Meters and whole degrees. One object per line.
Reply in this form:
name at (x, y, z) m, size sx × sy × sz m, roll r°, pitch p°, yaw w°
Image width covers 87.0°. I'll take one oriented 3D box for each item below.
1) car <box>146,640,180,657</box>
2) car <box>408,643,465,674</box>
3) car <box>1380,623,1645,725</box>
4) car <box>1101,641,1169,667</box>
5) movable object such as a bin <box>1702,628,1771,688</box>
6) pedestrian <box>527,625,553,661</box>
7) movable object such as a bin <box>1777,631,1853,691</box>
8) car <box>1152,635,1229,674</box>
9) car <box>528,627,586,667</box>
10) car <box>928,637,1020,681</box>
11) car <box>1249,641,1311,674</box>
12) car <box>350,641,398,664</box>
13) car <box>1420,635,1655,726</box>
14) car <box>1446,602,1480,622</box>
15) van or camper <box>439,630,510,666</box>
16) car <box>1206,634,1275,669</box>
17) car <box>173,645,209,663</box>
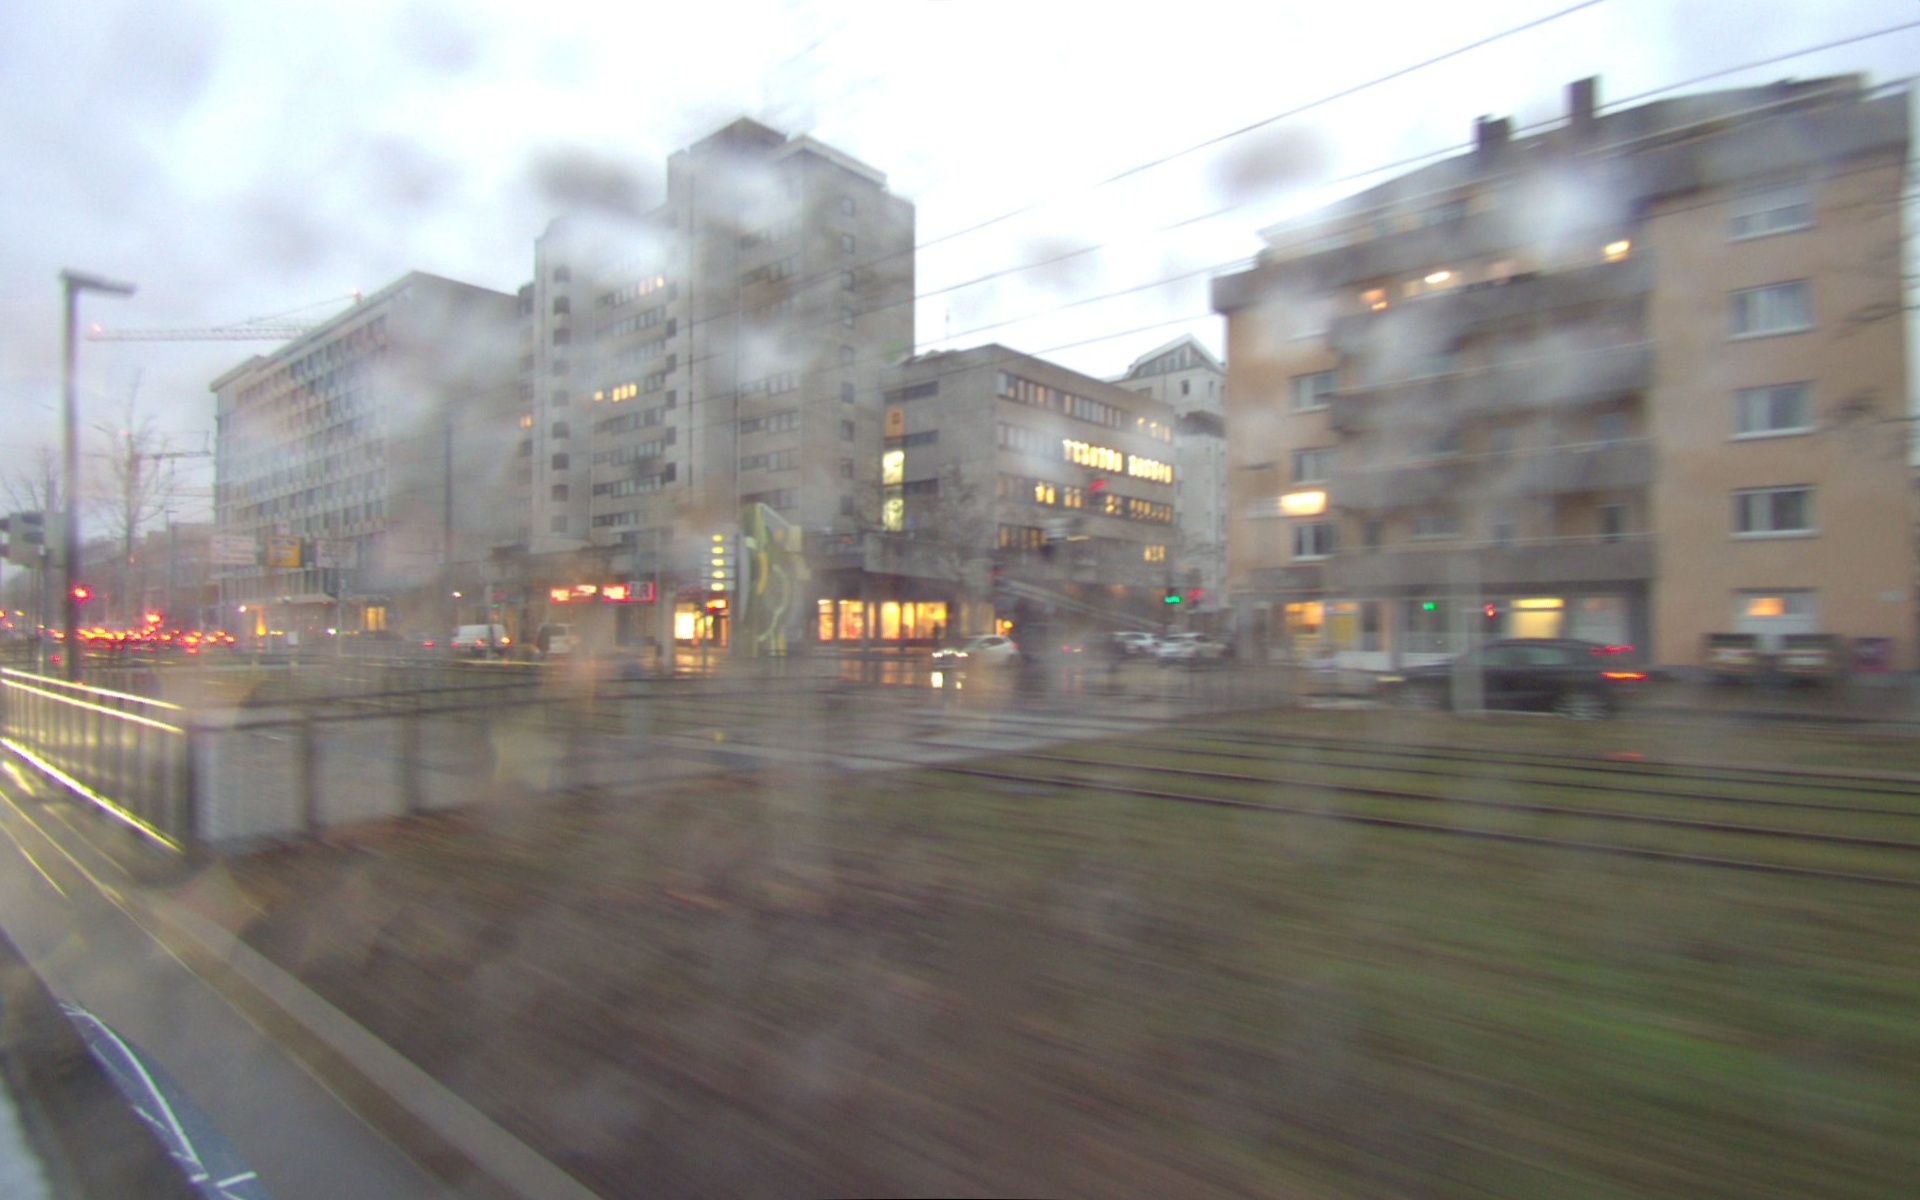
car at (-75.060, 4.544, 95.275) m, size 3.870 × 1.460 × 1.732 m, roll -1°, pitch -2°, yaw 40°
car at (-29.948, 3.306, 57.809) m, size 1.968 × 1.557 × 4.712 m, roll 1°, pitch -2°, yaw -39°
car at (10.078, 1.258, 18.602) m, size 3.997 × 1.597 × 1.783 m, roll -1°, pitch 0°, yaw 40°
car at (10.387, 3.187, 60.197) m, size 3.574 × 1.431 × 1.815 m, roll -2°, pitch -2°, yaw 38°
movable object such as a bin at (21.023, 1.562, 27.420) m, size 1.423 × 1.573 × 1.097 m, roll -2°, pitch -3°, yaw 38°
pedestrian at (-17.699, 1.816, 42.621) m, size 0.629 × 1.501 × 0.783 m, roll -2°, pitch -2°, yaw 33°
movable object such as a bin at (22.246, 1.576, 26.380) m, size 1.423 × 1.492 × 1.097 m, roll -2°, pitch -3°, yaw 38°
car at (10.093, 2.350, 44.185) m, size 1.776 × 1.564 × 3.788 m, roll -2°, pitch -2°, yaw 39°
car at (-23.319, 2.666, 58.661) m, size 1.969 × 2.029 × 4.580 m, roll -1°, pitch 0°, yaw -7°
car at (0.626, 2.407, 41.945) m, size 1.684 × 1.523 × 3.947 m, roll -1°, pitch 0°, yaw 39°
car at (16.488, 2.928, 52.052) m, size 1.756 × 1.564 × 3.788 m, roll -2°, pitch -2°, yaw 39°
car at (-44.891, 4.026, 77.631) m, size 1.656 × 1.630 × 3.781 m, roll 0°, pitch -1°, yaw -4°
car at (11.967, 1.597, 21.088) m, size 3.997 × 1.597 × 1.783 m, roll -1°, pitch 0°, yaw 40°
car at (41.397, 1.016, 83.257) m, size 1.756 × 1.564 × 3.788 m, roll -2°, pitch -2°, yaw 39°
van or camper at (-30.565, 2.994, 63.647) m, size 5.651 × 2.113 × 1.973 m, roll -2°, pitch -2°, yaw 41°
car at (13.339, 2.409, 48.043) m, size 1.756 × 1.564 × 3.788 m, roll -2°, pitch -2°, yaw 39°
car at (-69.101, 4.868, 90.967) m, size 3.887 × 1.523 × 1.732 m, roll -1°, pitch -2°, yaw 40°
